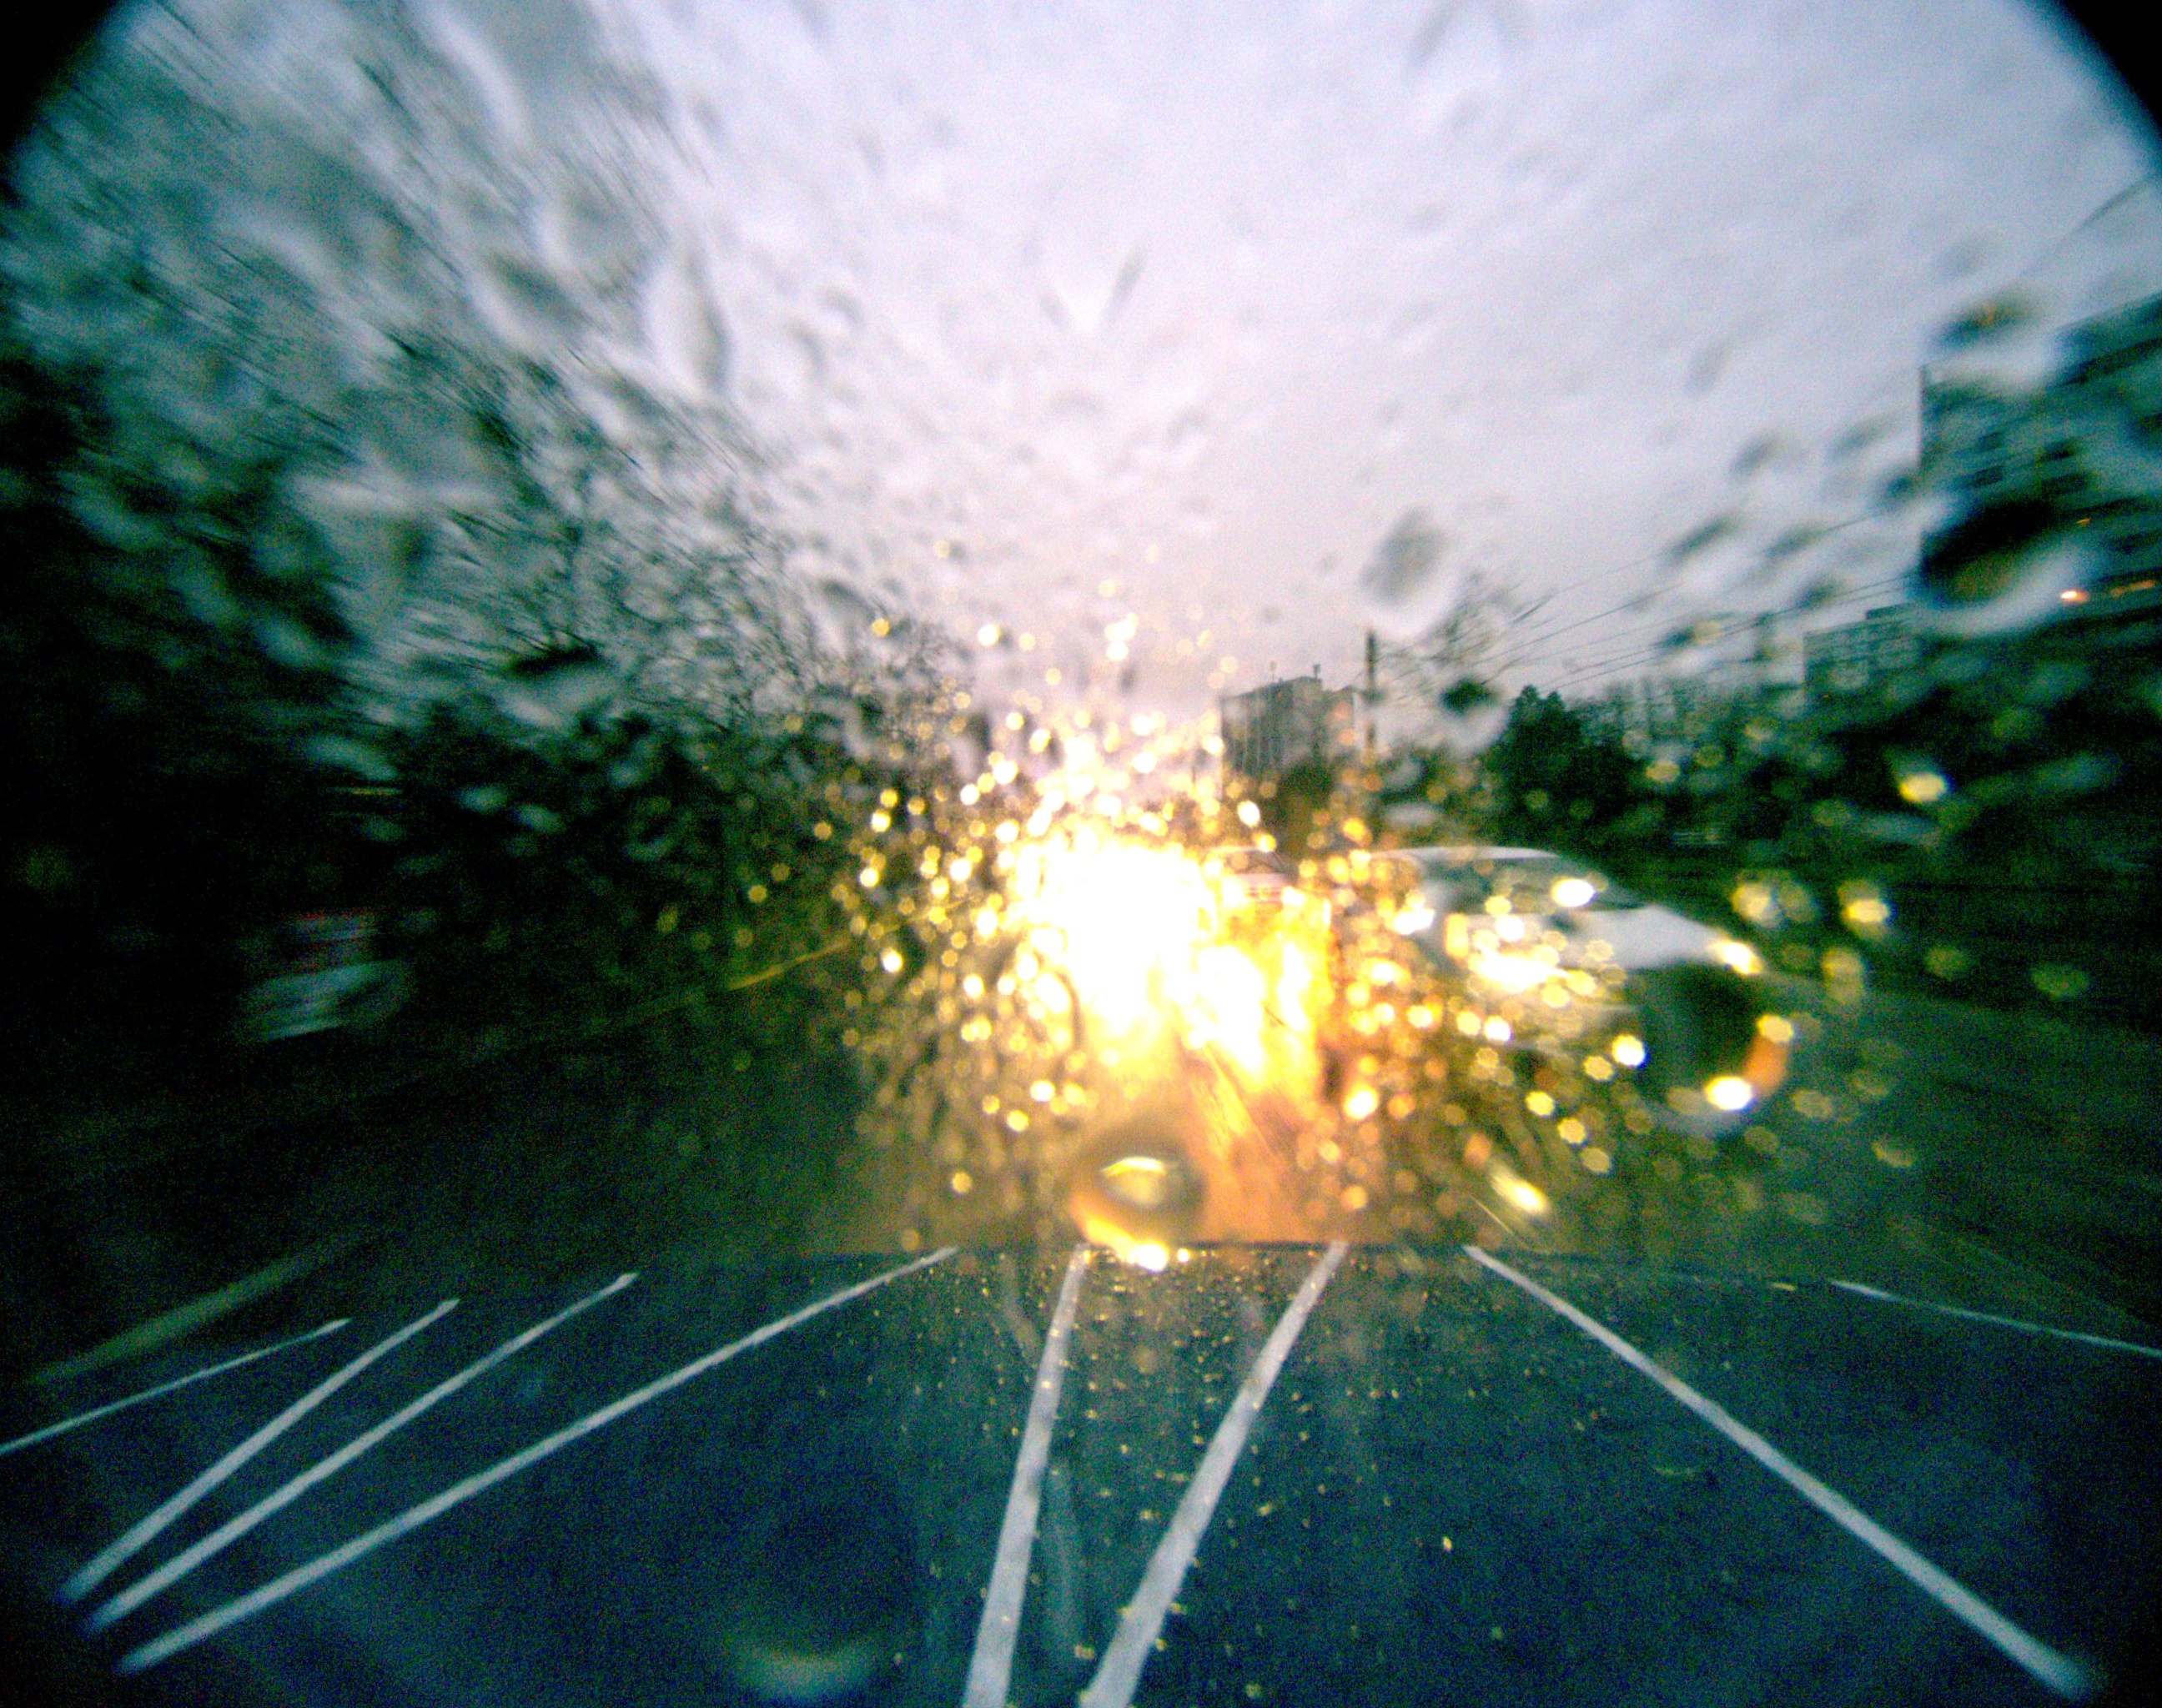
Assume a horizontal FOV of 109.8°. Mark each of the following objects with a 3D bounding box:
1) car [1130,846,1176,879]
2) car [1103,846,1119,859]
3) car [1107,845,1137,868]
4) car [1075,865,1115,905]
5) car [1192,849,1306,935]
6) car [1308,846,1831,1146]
[{"bbox_3d":[3.665,0.385,39.180,1.953,1.590,4.124,-1,1,0],"label":"car"},{"bbox_3d":[4.040,-0.278,102.215,1.998,1.605,3.999,-3,1,1],"label":"car"},{"bbox_3d":[2.967,0.176,56.163,1.953,1.590,4.124,-1,1,0],"label":"car"},{"bbox_3d":[0.635,1.381,34.675,1.679,1.590,4.044,-1,1,1],"label":"car"},{"bbox_3d":[3.450,0.709,16.338,1.693,1.530,4.190,-2,1,3],"label":"car"},{"bbox_3d":[3.338,0.775,6.298,1.718,1.638,4.147,-1,1,1],"label":"car"}]
